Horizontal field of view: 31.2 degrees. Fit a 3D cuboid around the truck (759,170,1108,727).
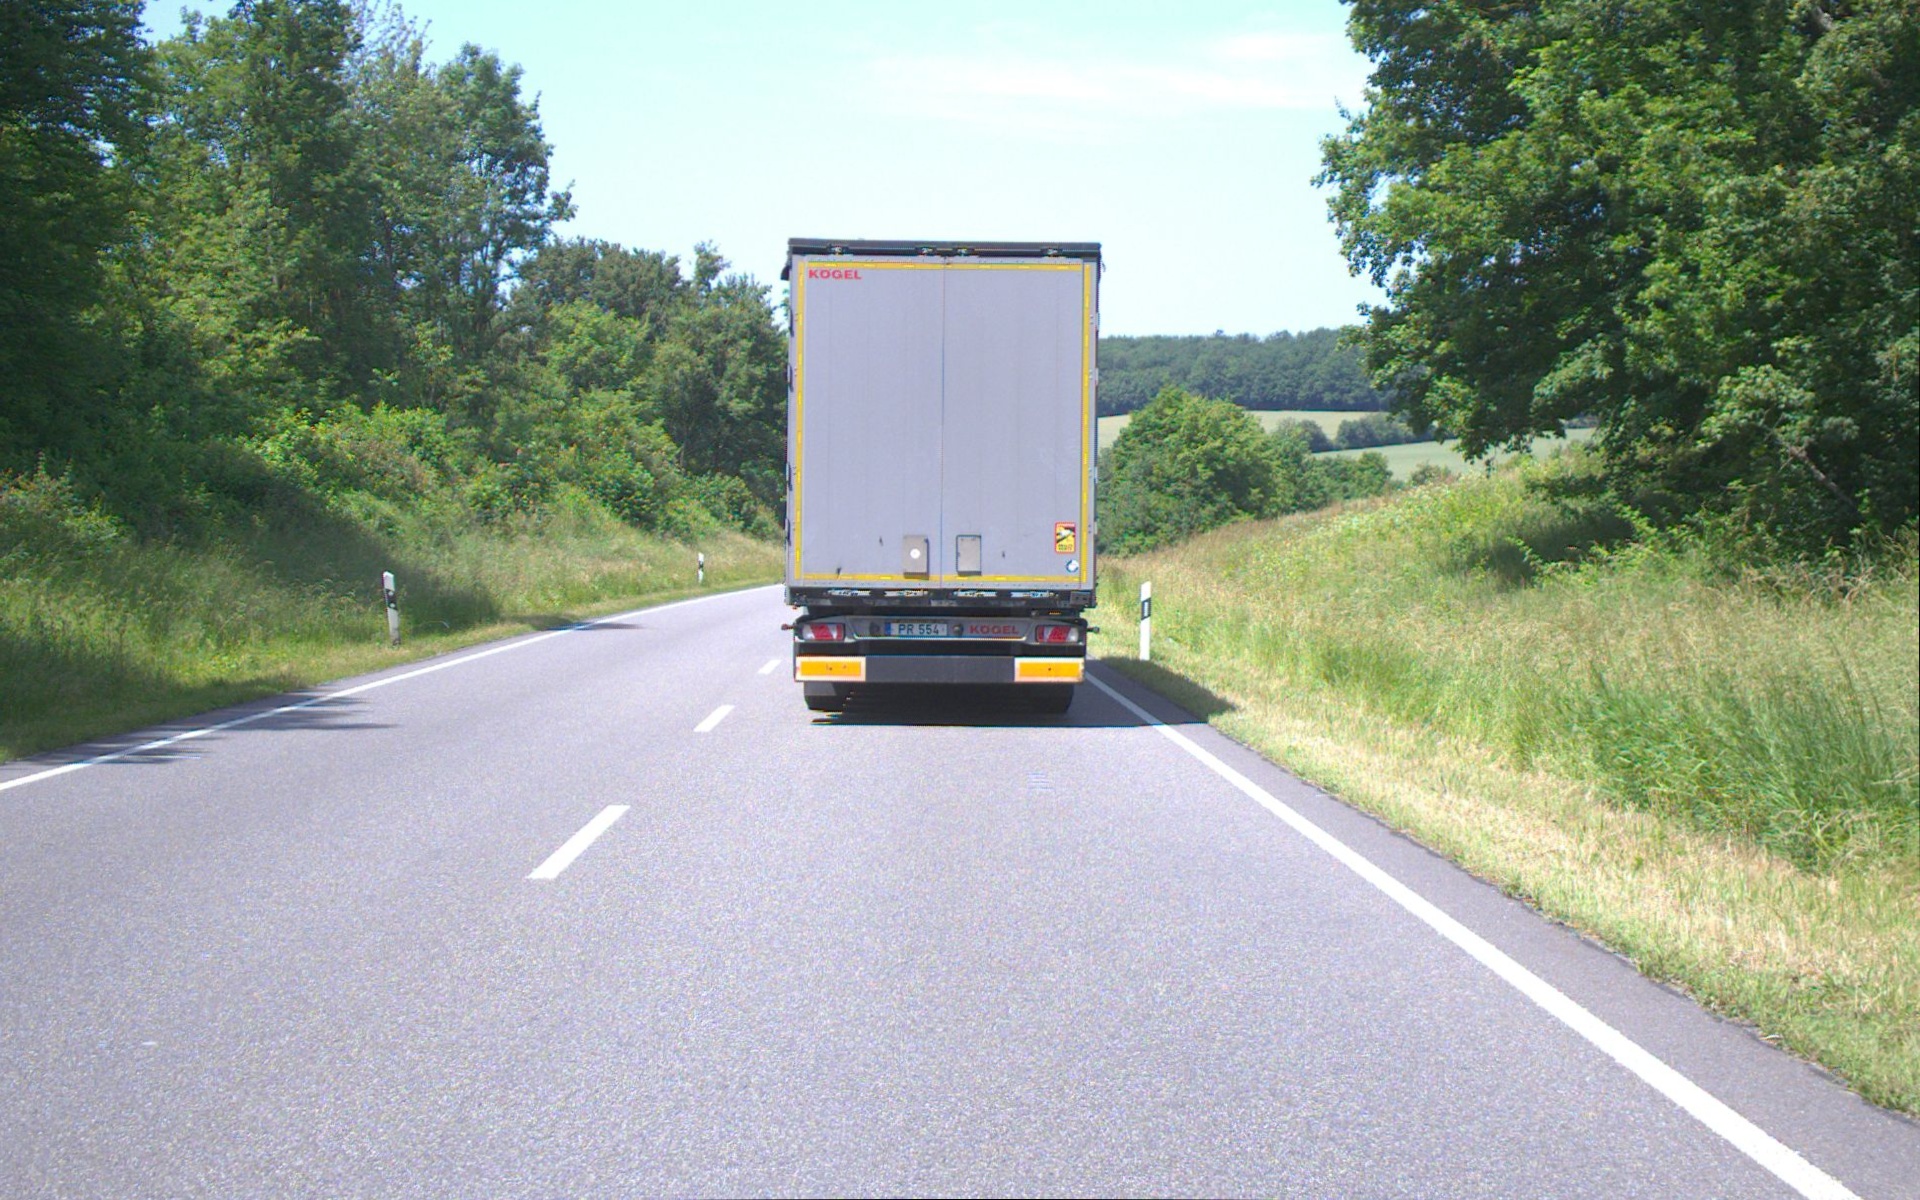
[{"bbox_3d":[-0.264,-1.349,33.826,2.817,4.517,11.769,0,1,0],"label":"truck"}]
